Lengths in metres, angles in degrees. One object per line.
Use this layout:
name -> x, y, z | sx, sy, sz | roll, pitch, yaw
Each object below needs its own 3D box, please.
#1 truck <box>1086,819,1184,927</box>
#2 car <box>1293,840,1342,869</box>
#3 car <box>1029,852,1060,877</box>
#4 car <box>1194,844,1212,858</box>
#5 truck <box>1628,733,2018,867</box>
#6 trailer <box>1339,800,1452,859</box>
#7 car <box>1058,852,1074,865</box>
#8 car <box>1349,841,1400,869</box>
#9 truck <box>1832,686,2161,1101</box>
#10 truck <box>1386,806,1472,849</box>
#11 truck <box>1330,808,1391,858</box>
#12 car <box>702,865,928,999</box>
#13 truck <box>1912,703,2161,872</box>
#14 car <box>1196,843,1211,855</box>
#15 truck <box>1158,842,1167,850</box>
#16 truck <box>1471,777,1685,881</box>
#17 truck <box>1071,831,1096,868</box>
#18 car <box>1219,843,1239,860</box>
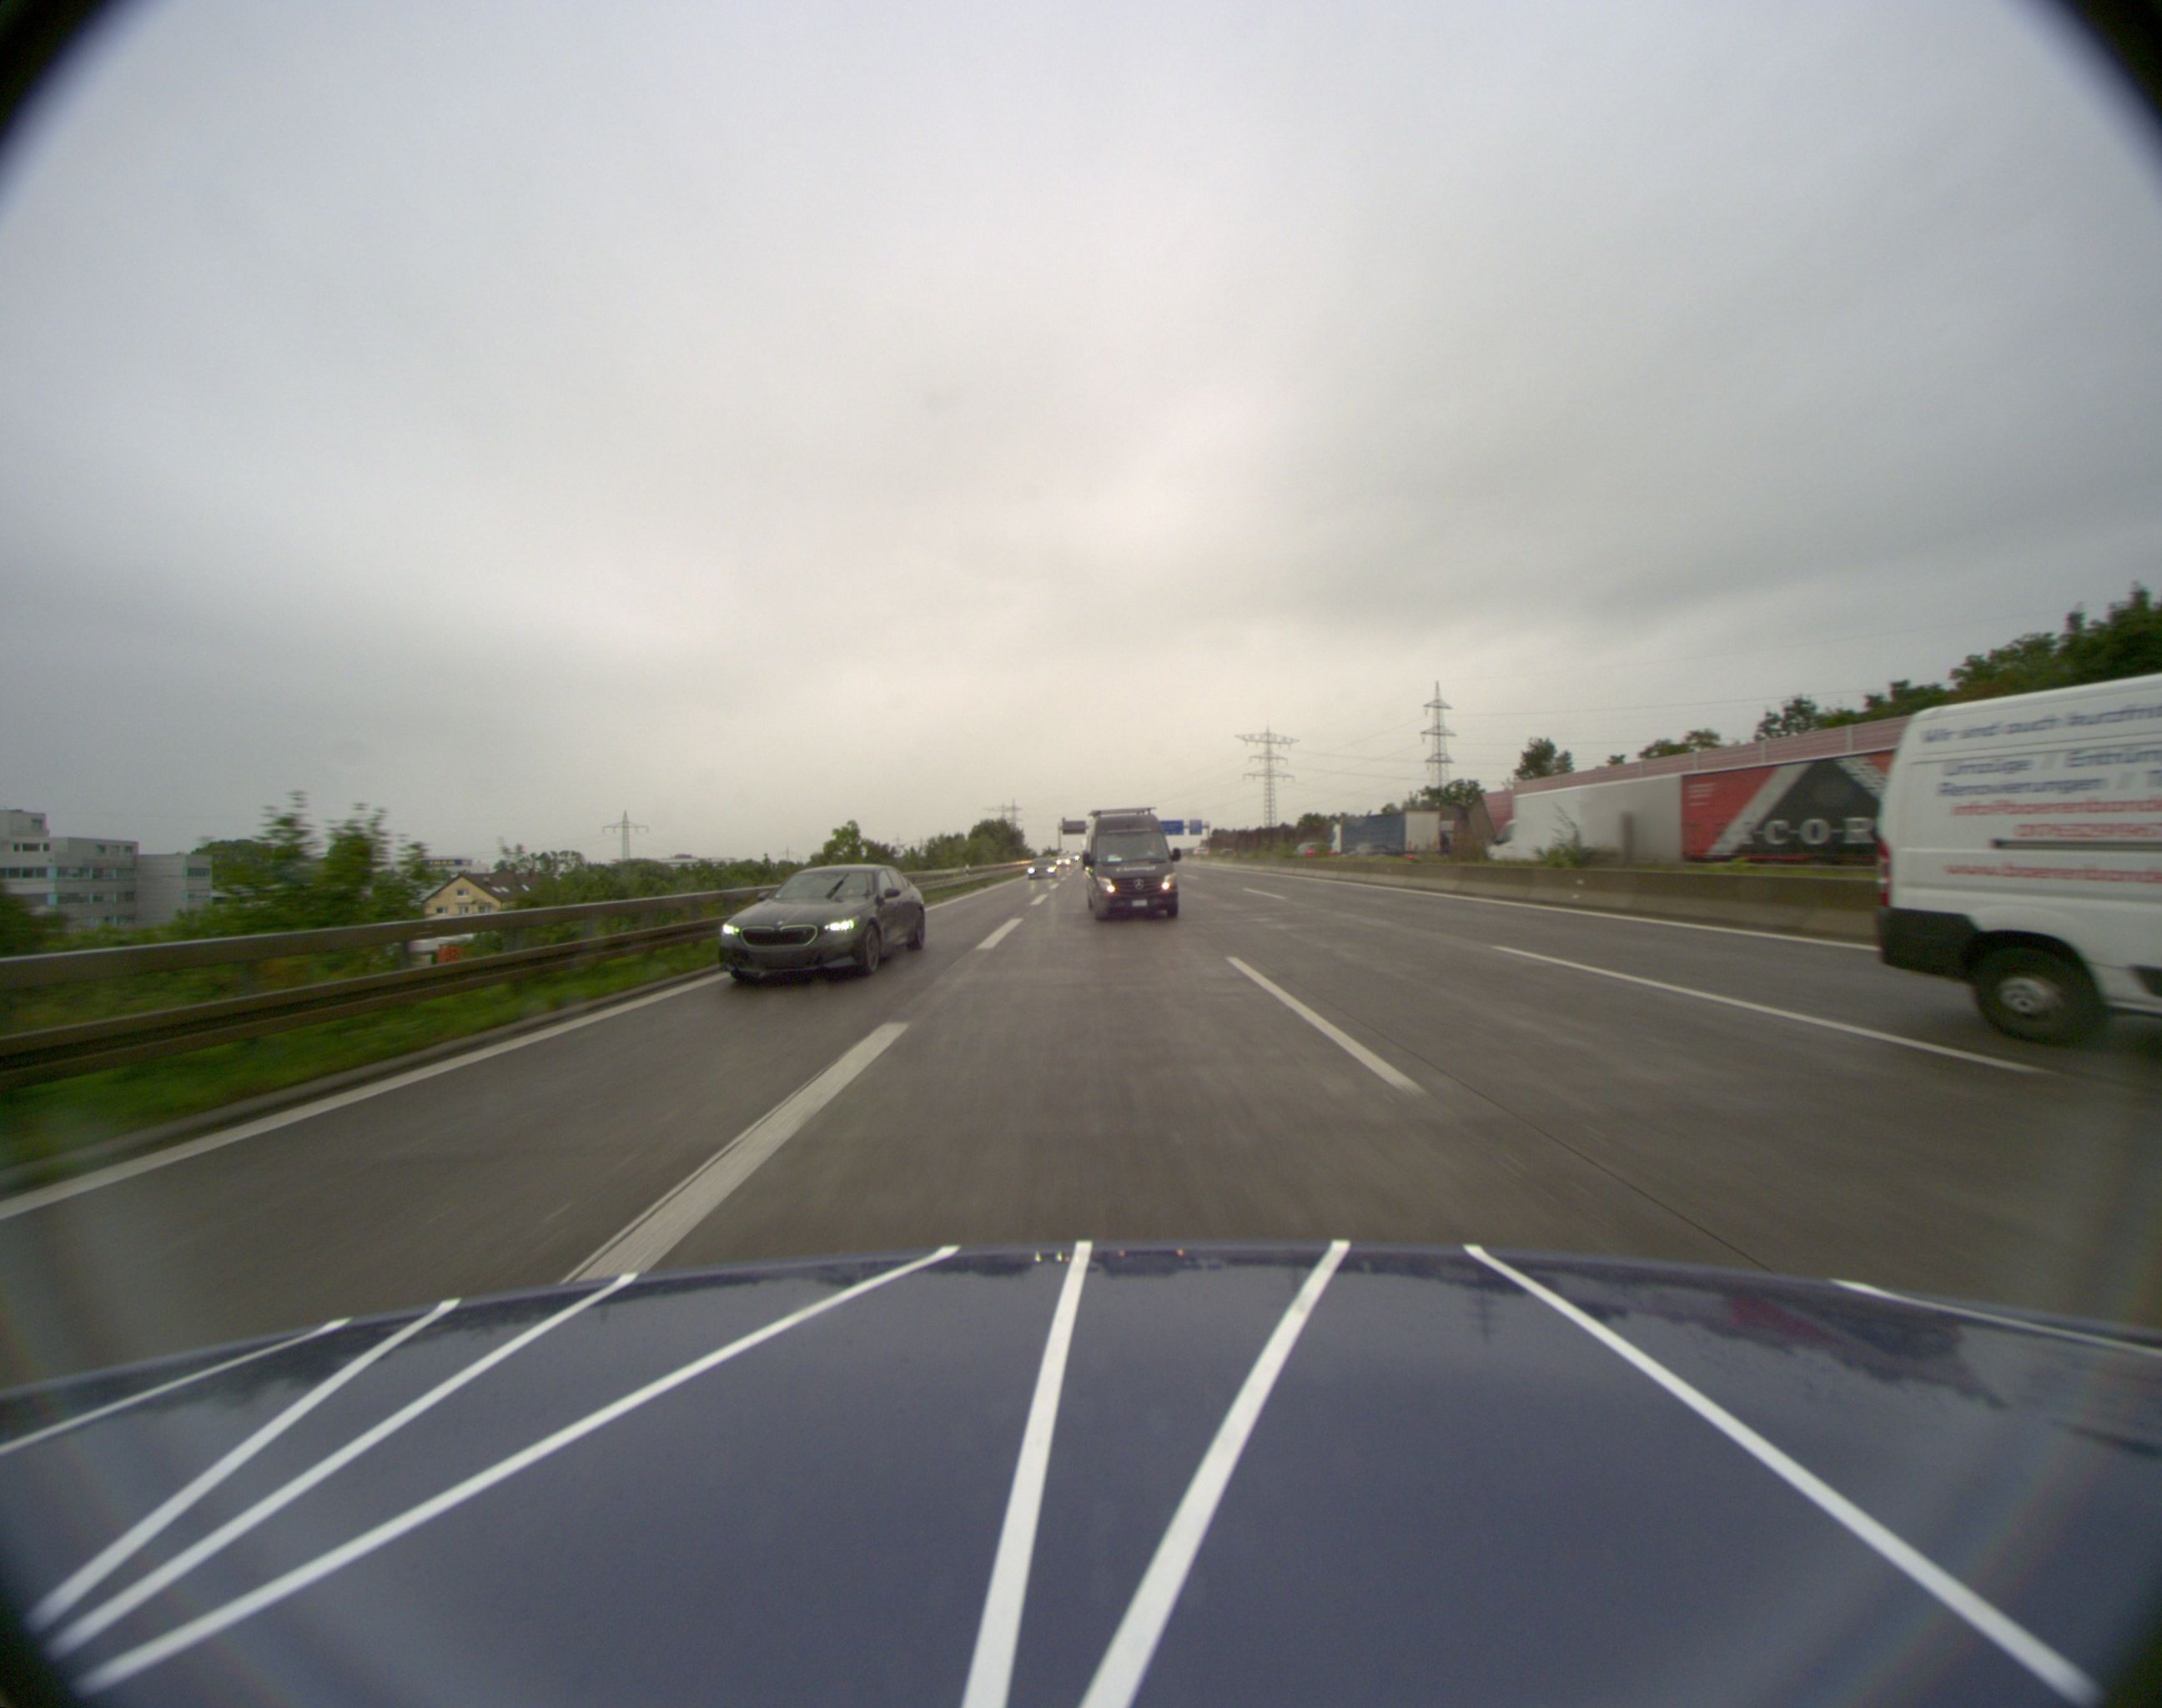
truck -> 1.221, 0.396, 20.021 | 1.999, 2.324, 6.109 | -2, 1, -1
car -> 16.219, 0.029, 52.353 | 1.998, 1.848, 4.389 | -2, 0, 1
car -> -2.585, 0.717, 54.949 | 1.998, 1.706, 4.000 | -1, 0, 1
car -> 18.547, -0.512, 115.426 | 1.998, 2.002, 4.791 | -3, 0, 1
truck -> 23.656, -1.478, 25.613 | 2.788, 3.470, 10.617 | -2, 0, 1
trailer -> 24.536, -1.768, 60.539 | 3.054, 4.004, 14.125 | -4, 0, 1
car -> -1.982, 0.594, 100.066 | 1.998, 1.706, 4.000 | -1, 0, 1
car -> 21.074, 0.073, 54.737 | 1.998, 1.848, 4.389 | -2, 0, 1
truck -> 7.524, 0.210, 3.189 | 2.243, 2.464, 6.582 | -2, 0, 0
truck -> 29.226, -2.093, 64.353 | 2.948, 3.229, 9.378 | -4, 0, 1
truck -> 24.594, -1.809, 67.148 | 3.054, 4.004, 6.051 | -4, 1, 1
car -> -3.713, 0.998, 11.515 | 1.862, 1.531, 4.203 | -3, 0, 0
truck -> 23.554, -1.417, 16.020 | 2.788, 3.470, 8.493 | -2, 0, 1
car -> 22.514, -0.970, 139.586 | 1.998, 2.002, 5.133 | -3, 0, 2
truck -> 24.554, -2.413, 229.901 | 2.150, 2.193, 5.419 | -3, 1, 2
truck -> 15.987, -0.729, 25.205 | 2.272, 2.812, 7.279 | -4, 0, 1
truck -> 0.304, -0.471, 77.896 | 2.392, 3.657, 4.987 | -1, 0, 1
car -> 18.724, -0.373, 96.259 | 1.722, 2.002, 4.238 | -3, 0, 1
